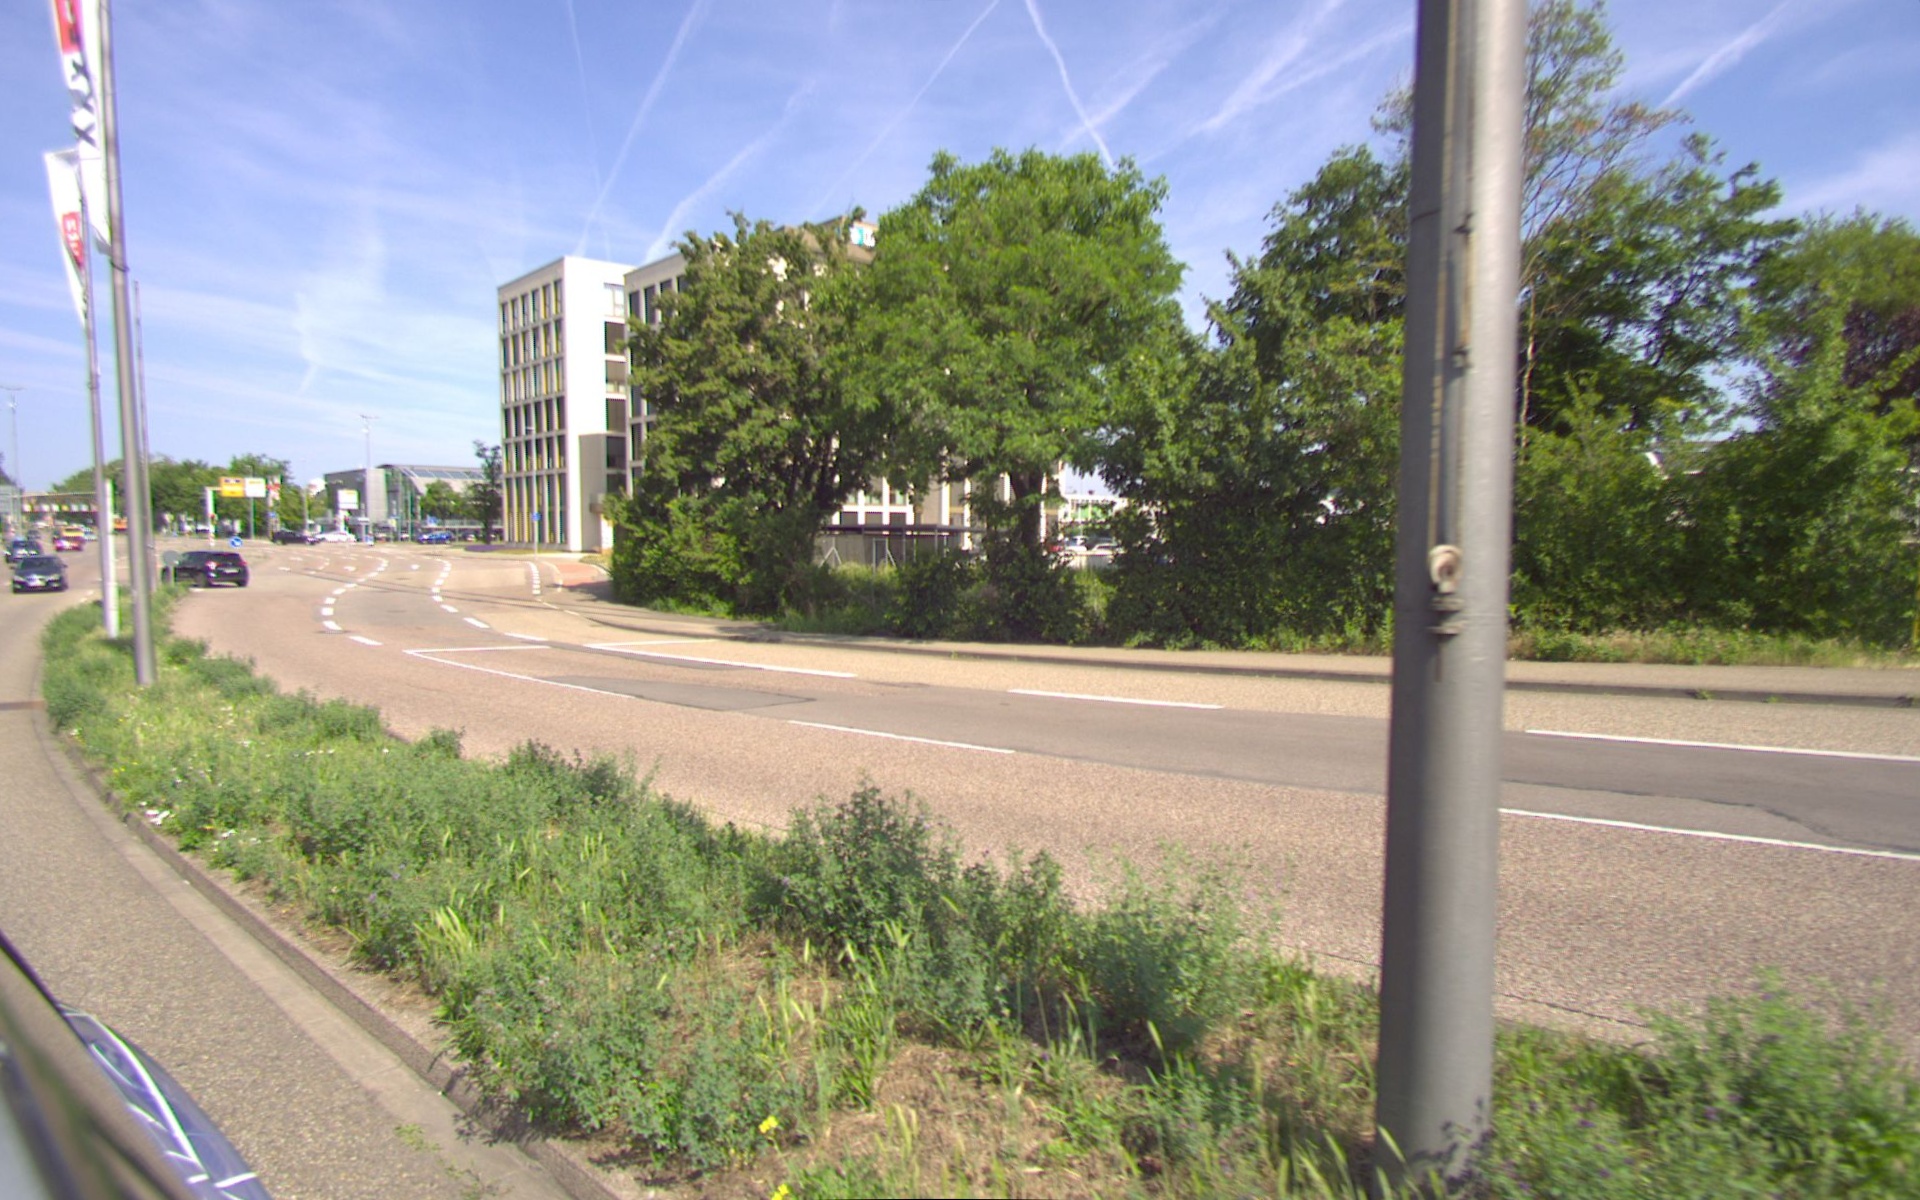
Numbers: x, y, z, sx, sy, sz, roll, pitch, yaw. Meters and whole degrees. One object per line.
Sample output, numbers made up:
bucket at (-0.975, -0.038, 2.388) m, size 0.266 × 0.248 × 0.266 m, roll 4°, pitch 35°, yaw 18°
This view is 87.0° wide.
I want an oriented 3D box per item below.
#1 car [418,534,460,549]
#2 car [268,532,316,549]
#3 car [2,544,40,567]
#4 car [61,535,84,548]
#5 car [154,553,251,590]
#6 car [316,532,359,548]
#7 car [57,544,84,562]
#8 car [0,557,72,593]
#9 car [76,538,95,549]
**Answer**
car at (-64.919, -7.314, 126.125) m, size 4.324 × 1.861 × 1.816 m, roll -2°, pitch 4°, yaw -37°
car at (-75.201, -6.700, 113.919) m, size 4.320 × 1.861 × 1.818 m, roll -1°, pitch 4°, yaw -28°
car at (-65.721, -3.136, 70.882) m, size 1.799 × 1.485 × 4.006 m, roll -2°, pitch 4°, yaw -41°
car at (-99.355, -6.555, 113.291) m, size 1.799 × 1.485 × 4.006 m, roll -2°, pitch 4°, yaw -41°
car at (-34.008, -1.294, 45.413) m, size 4.122 × 1.540 × 1.846 m, roll 2°, pitch 3°, yaw 27°
car at (-75.684, -7.251, 123.087) m, size 4.320 × 1.861 × 1.818 m, roll -1°, pitch 4°, yaw -28°
car at (-79.581, -4.208, 90.551) m, size 1.799 × 1.485 × 4.006 m, roll -2°, pitch 4°, yaw -41°
car at (-38.935, -1.082, 42.668) m, size 1.820 × 1.428 × 4.011 m, roll -1°, pitch 3°, yaw -35°
car at (-117.022, -7.600, 135.428) m, size 1.799 × 1.485 × 4.006 m, roll -2°, pitch 4°, yaw -41°
